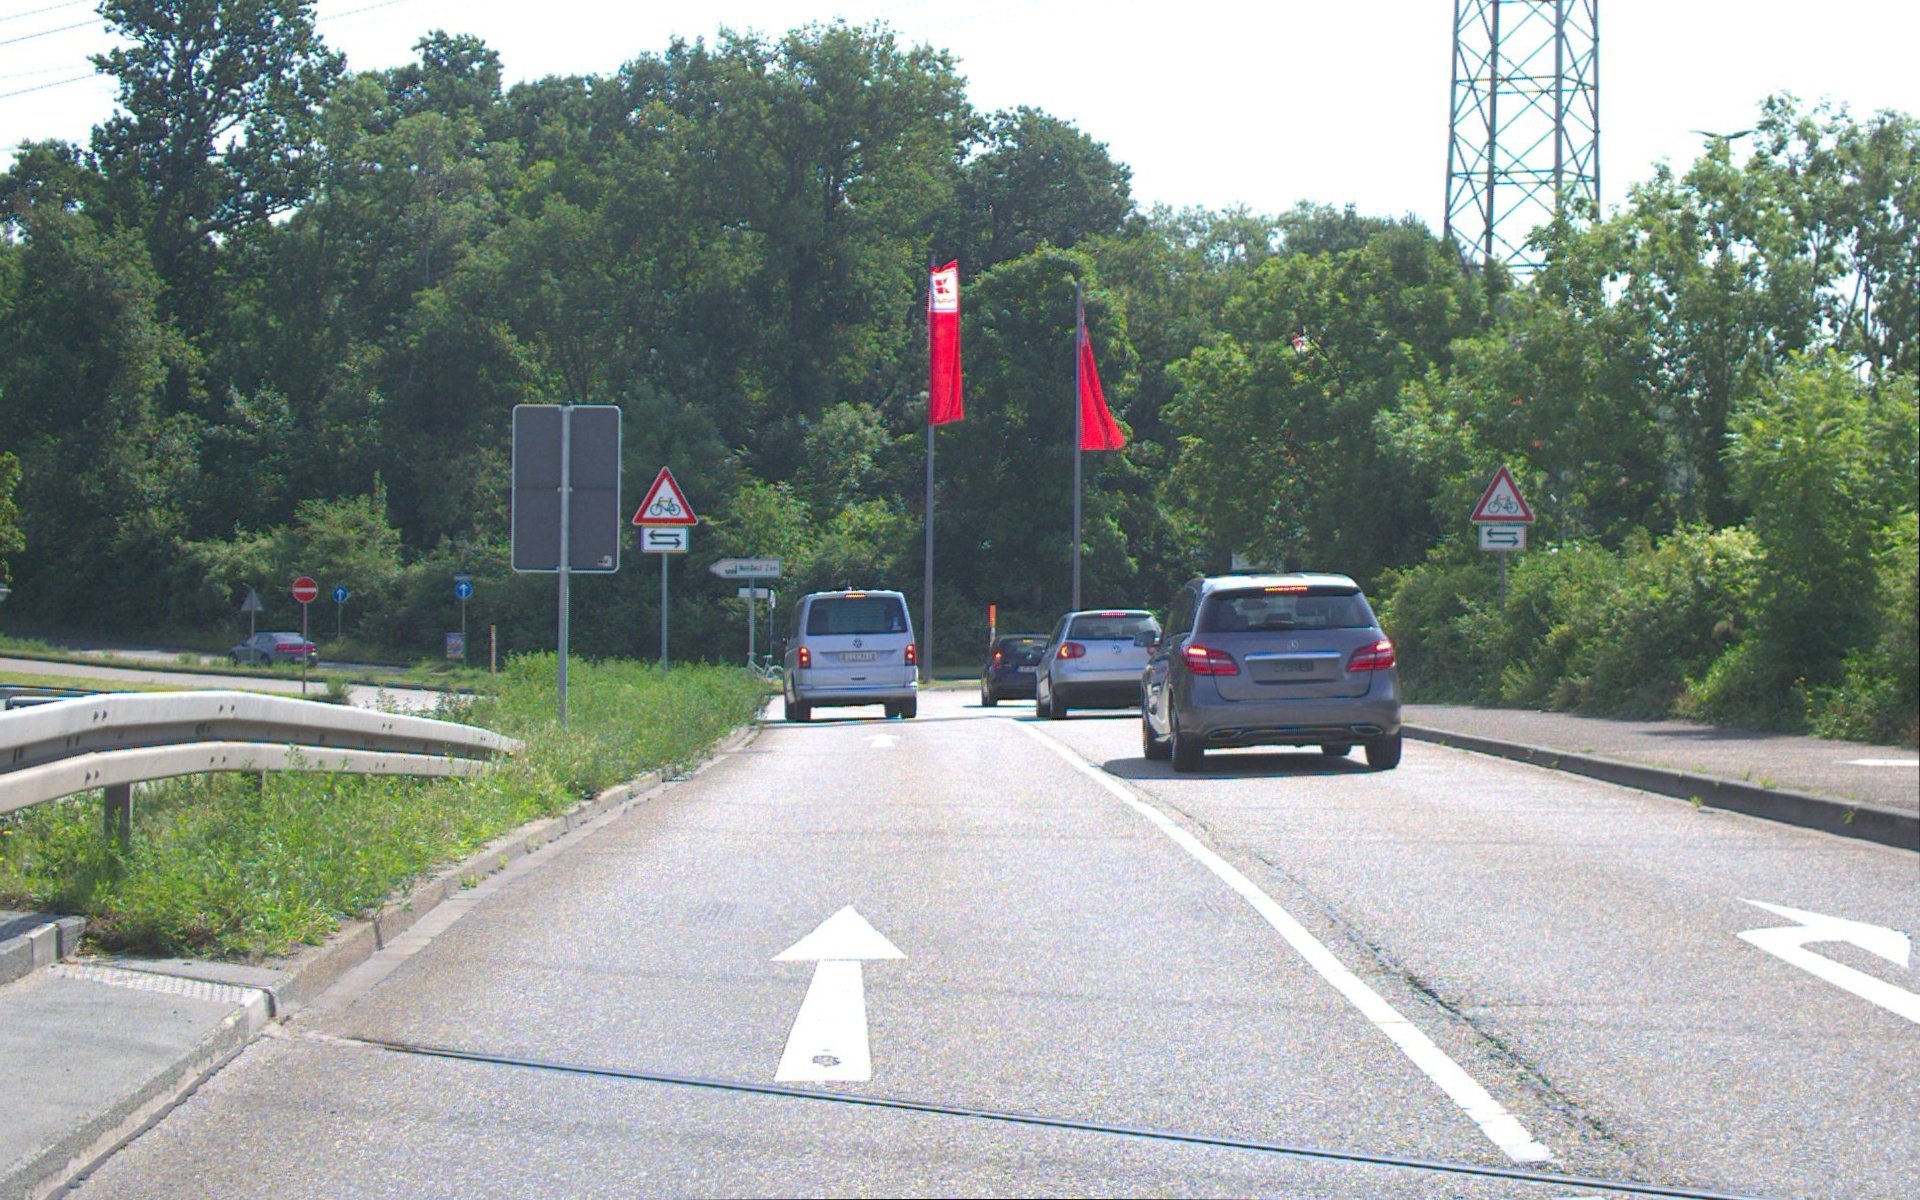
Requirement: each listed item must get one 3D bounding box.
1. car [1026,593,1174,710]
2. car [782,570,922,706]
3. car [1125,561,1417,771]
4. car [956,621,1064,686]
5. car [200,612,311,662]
[{"bbox_3d":[1.896,0.724,47.608,1.856,1.524,4.144,-1,-1,0],"label":"car"},{"bbox_3d":[-1.705,0.563,53.025,2.039,2.007,4.000,0,0,-3],"label":"car"},{"bbox_3d":[2.444,0.497,27.986,1.856,1.524,4.144,-2,0,-1],"label":"car"},{"bbox_3d":[1.079,1.114,72.335,1.774,1.327,3.739,0,0,8],"label":"car"},{"bbox_3d":[-24.786,1.291,120.923,3.651,1.561,1.649,1,2,30],"label":"car"}]
